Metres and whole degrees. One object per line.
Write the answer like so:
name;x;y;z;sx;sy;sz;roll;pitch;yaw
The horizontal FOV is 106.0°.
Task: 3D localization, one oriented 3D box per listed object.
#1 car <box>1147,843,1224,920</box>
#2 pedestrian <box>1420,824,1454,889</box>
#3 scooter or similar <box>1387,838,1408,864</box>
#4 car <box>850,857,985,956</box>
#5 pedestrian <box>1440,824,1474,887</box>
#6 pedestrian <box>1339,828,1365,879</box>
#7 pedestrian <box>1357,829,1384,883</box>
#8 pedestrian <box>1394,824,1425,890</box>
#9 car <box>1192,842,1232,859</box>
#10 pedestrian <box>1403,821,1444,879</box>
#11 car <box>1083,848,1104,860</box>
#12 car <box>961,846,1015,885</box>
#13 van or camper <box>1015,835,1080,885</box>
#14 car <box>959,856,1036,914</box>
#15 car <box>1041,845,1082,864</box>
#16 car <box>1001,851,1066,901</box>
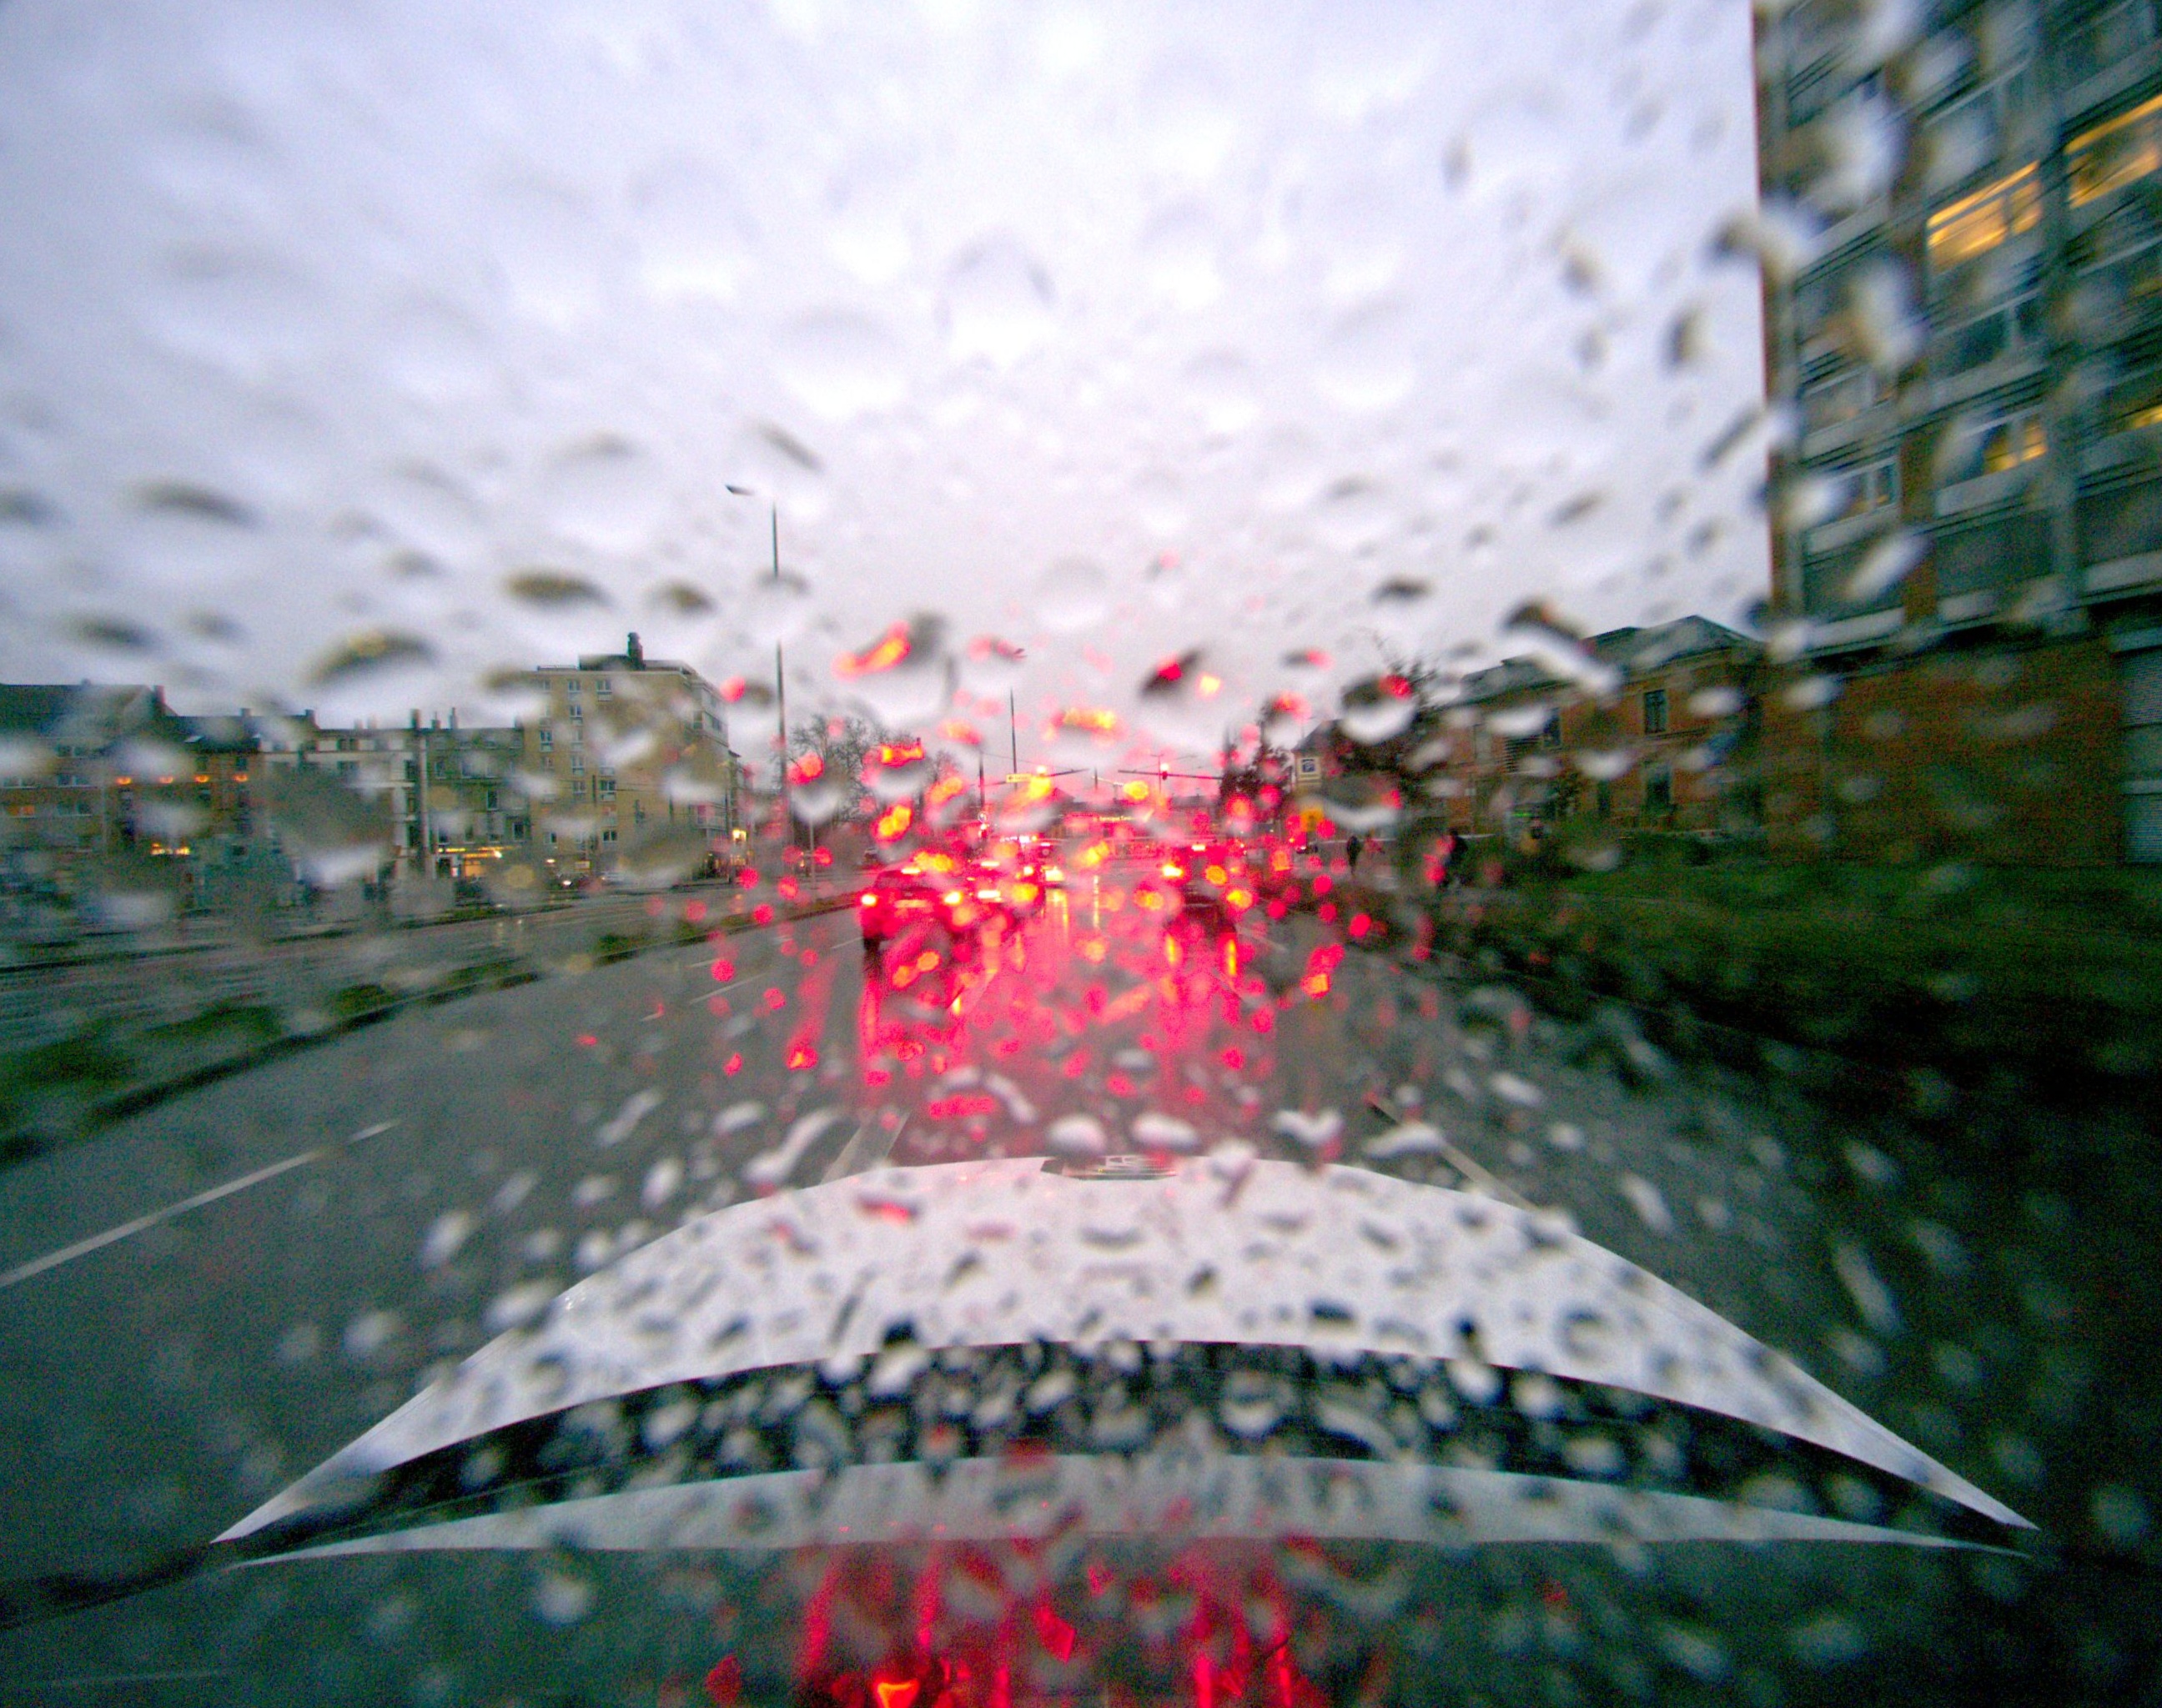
car;2.751;0.630;21.618;1.768;1.800;4.433;-2;1;7
pedestrian;9.739;0.060;22.279;0.661;1.687;0.616;-4;1;29
scooter or similar;15.748;-0.154;40.461;0.507;1.213;1.392;-3;0;40
car;-2.756;0.824;14.532;1.696;1.481;3.870;0;0;-1
pedestrian;10.402;0.026;22.531;0.711;1.687;0.765;-3;0;29
pedestrian;10.533;-0.042;31.635;0.799;1.929;0.765;-1;3;29
pedestrian;11.167;0.071;31.418;0.799;2.013;0.765;-1;3;29
pedestrian;9.161;0.091;22.685;0.578;1.781;0.774;-4;-1;29
car;13.239;-0.333;82.230;4.024;1.514;1.975;-3;0;-45
pedestrian;10.802;-0.126;25.695;0.852;1.791;0.746;-3;0;-13
car;1.715;0.009;108.121;1.800;1.446;4.016;-3;0;14
car;-4.438;0.521;39.521;1.877;1.772;4.004;-2;0;3
van or camper;-1.427;0.244;37.019;2.190;2.109;4.996;-1;0;6
car;-2.176;0.770;22.189;1.653;1.404;4.119;0;0;0
car;-2.016;0.048;84.355;3.983;1.772;1.995;-3;0;-7
car;-1.571;0.698;28.541;1.778;1.600;4.545;0;0;3
